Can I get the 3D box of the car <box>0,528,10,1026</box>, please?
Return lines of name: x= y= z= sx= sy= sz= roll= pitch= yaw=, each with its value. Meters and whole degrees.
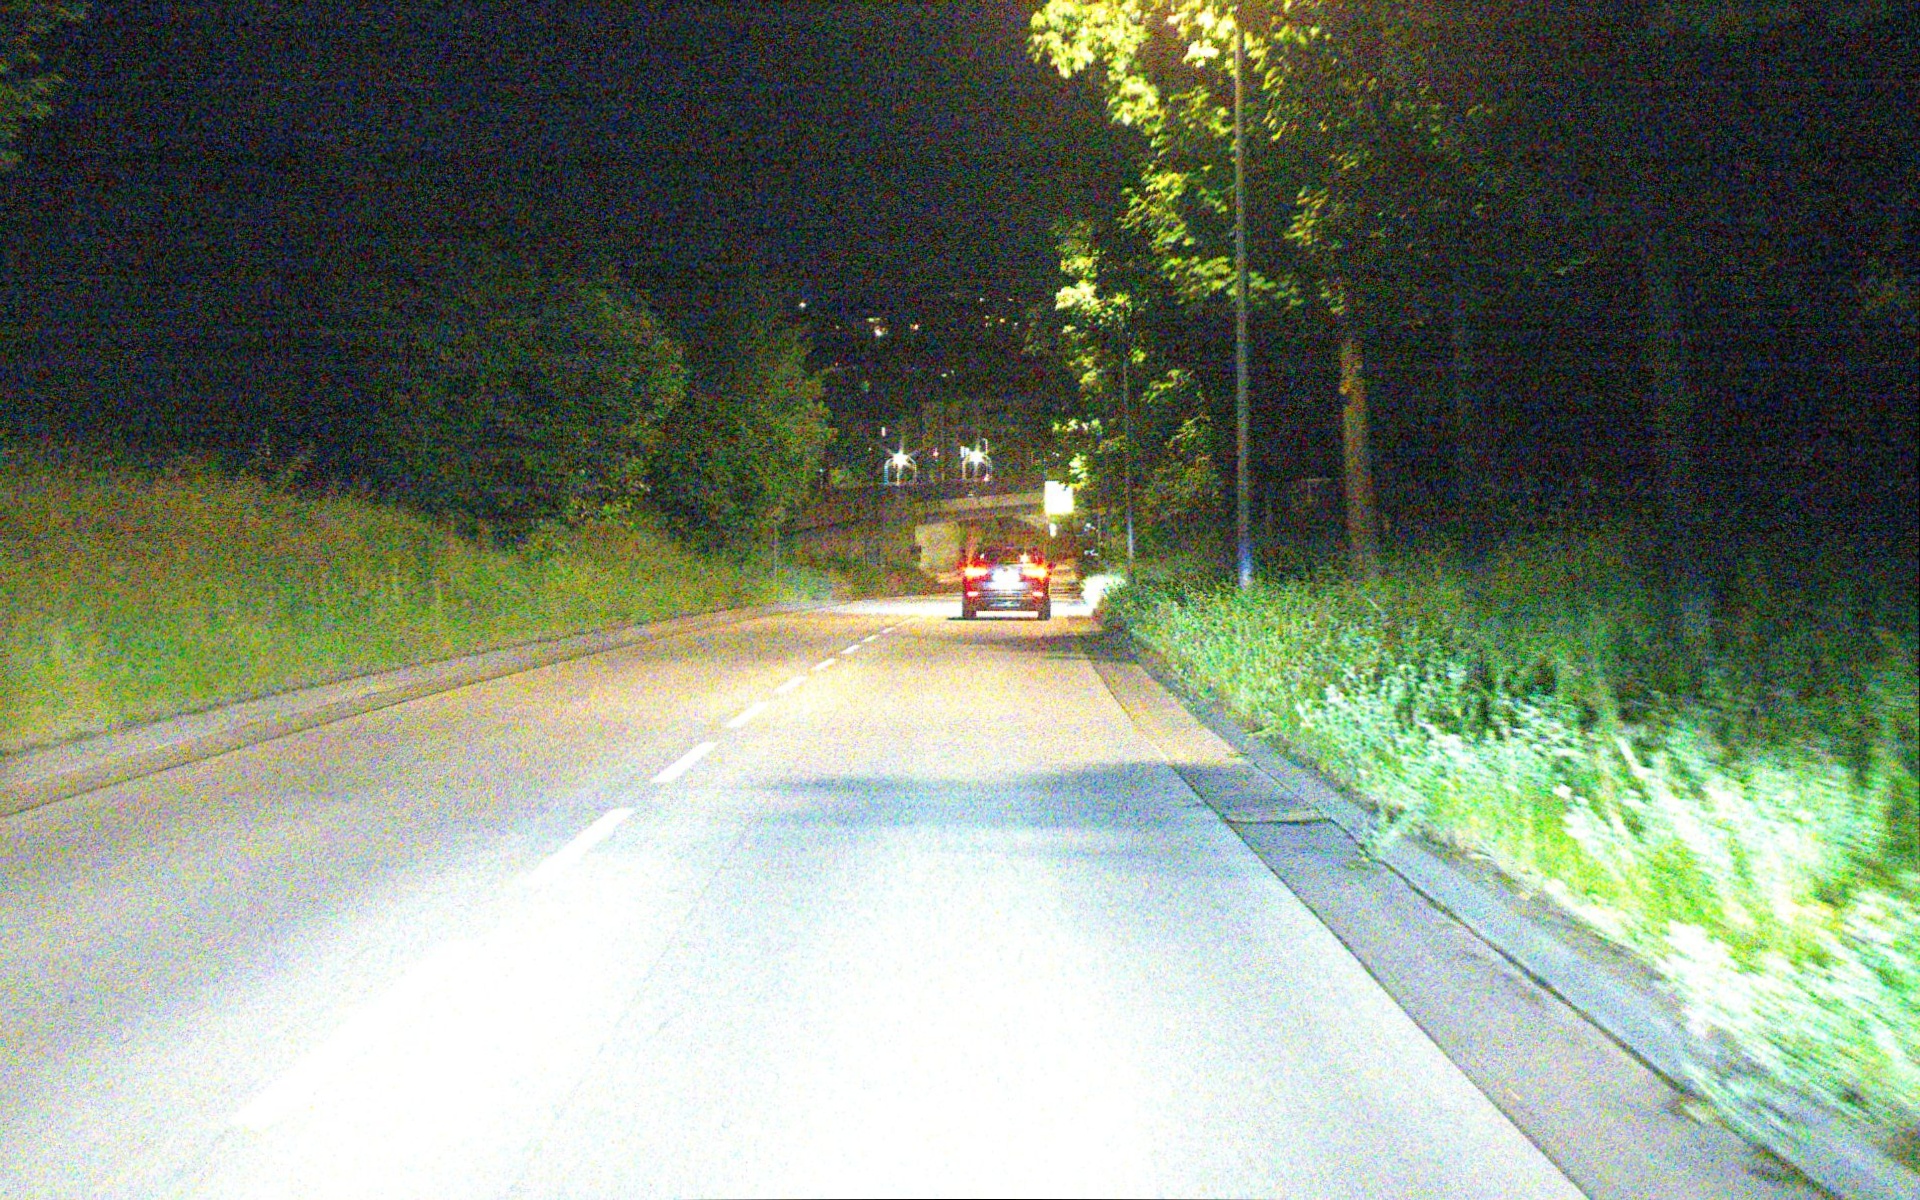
car: x=-3.658 y=0.561 z=8.570 sx=1.647 sy=1.486 sz=3.558 roll=0 pitch=1 yaw=-1

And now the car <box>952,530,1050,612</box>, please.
car: x=0.825 y=-0.625 z=71.162 sx=1.763 sy=1.636 sz=3.723 roll=0 pitch=1 yaw=-3
